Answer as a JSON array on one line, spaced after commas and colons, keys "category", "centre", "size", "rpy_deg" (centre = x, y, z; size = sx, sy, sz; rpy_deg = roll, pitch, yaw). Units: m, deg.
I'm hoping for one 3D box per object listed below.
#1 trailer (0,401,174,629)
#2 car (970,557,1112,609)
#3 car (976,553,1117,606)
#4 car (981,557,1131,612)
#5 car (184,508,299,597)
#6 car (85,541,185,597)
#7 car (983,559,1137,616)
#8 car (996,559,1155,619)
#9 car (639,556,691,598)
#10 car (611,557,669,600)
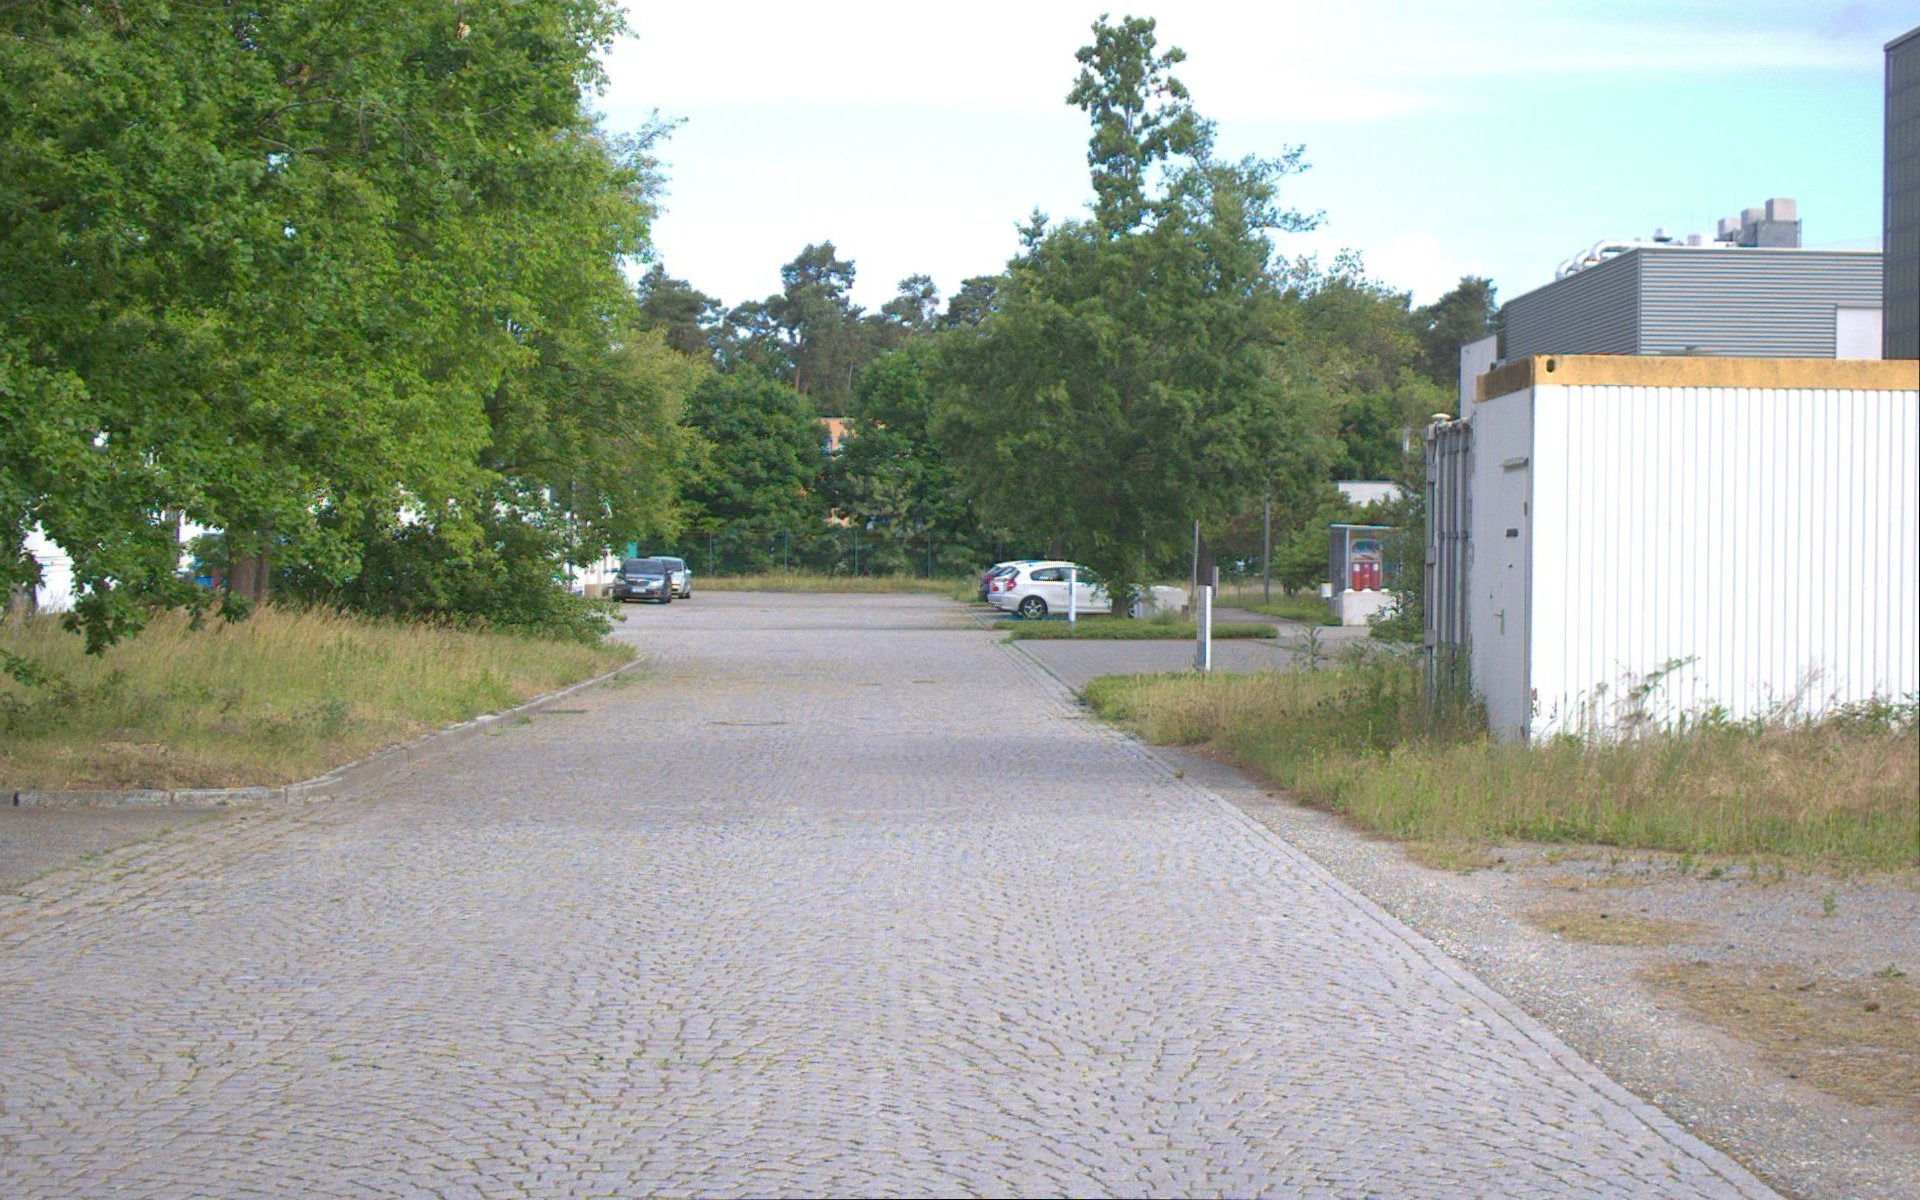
[{"category": "trailer", "centre": [-16.630, -1.445, 61.072], "size": [2.657, 3.693, 10.721], "rpy_deg": [1, 1, 1]}, {"category": "car", "centre": [2.301, -0.488, 98.741], "size": [3.987, 1.450, 1.770], "rpy_deg": [1, 1, -1]}, {"category": "car", "centre": [2.550, -0.609, 101.960], "size": [3.986, 1.528, 2.000], "rpy_deg": [0, 1, -5]}, {"category": "car", "centre": [2.599, -0.429, 93.841], "size": [3.987, 1.450, 1.770], "rpy_deg": [1, 1, -1]}, {"category": "car", "centre": [-20.974, -1.382, 100.639], "size": [1.993, 2.515, 5.617], "rpy_deg": [1, 1, 2]}, {"category": "car", "centre": [-23.812, -0.888, 99.323], "size": [1.900, 1.569, 4.000], "rpy_deg": [1, 1, 0]}, {"category": "car", "centre": [2.614, -0.328, 90.801], "size": [3.987, 1.450, 1.697], "rpy_deg": [1, 1, -1]}, {"category": "car", "centre": [2.961, -0.273, 88.637], "size": [3.987, 1.450, 2.000], "rpy_deg": [1, 0, -1]}, {"category": "car", "centre": [-10.500, -0.823, 122.635], "size": [1.748, 1.449, 4.001], "rpy_deg": [1, 1, -4]}, {"category": "car", "centre": [-10.456, -0.703, 112.399], "size": [1.748, 1.359, 4.001], "rpy_deg": [1, 1, -4]}]
